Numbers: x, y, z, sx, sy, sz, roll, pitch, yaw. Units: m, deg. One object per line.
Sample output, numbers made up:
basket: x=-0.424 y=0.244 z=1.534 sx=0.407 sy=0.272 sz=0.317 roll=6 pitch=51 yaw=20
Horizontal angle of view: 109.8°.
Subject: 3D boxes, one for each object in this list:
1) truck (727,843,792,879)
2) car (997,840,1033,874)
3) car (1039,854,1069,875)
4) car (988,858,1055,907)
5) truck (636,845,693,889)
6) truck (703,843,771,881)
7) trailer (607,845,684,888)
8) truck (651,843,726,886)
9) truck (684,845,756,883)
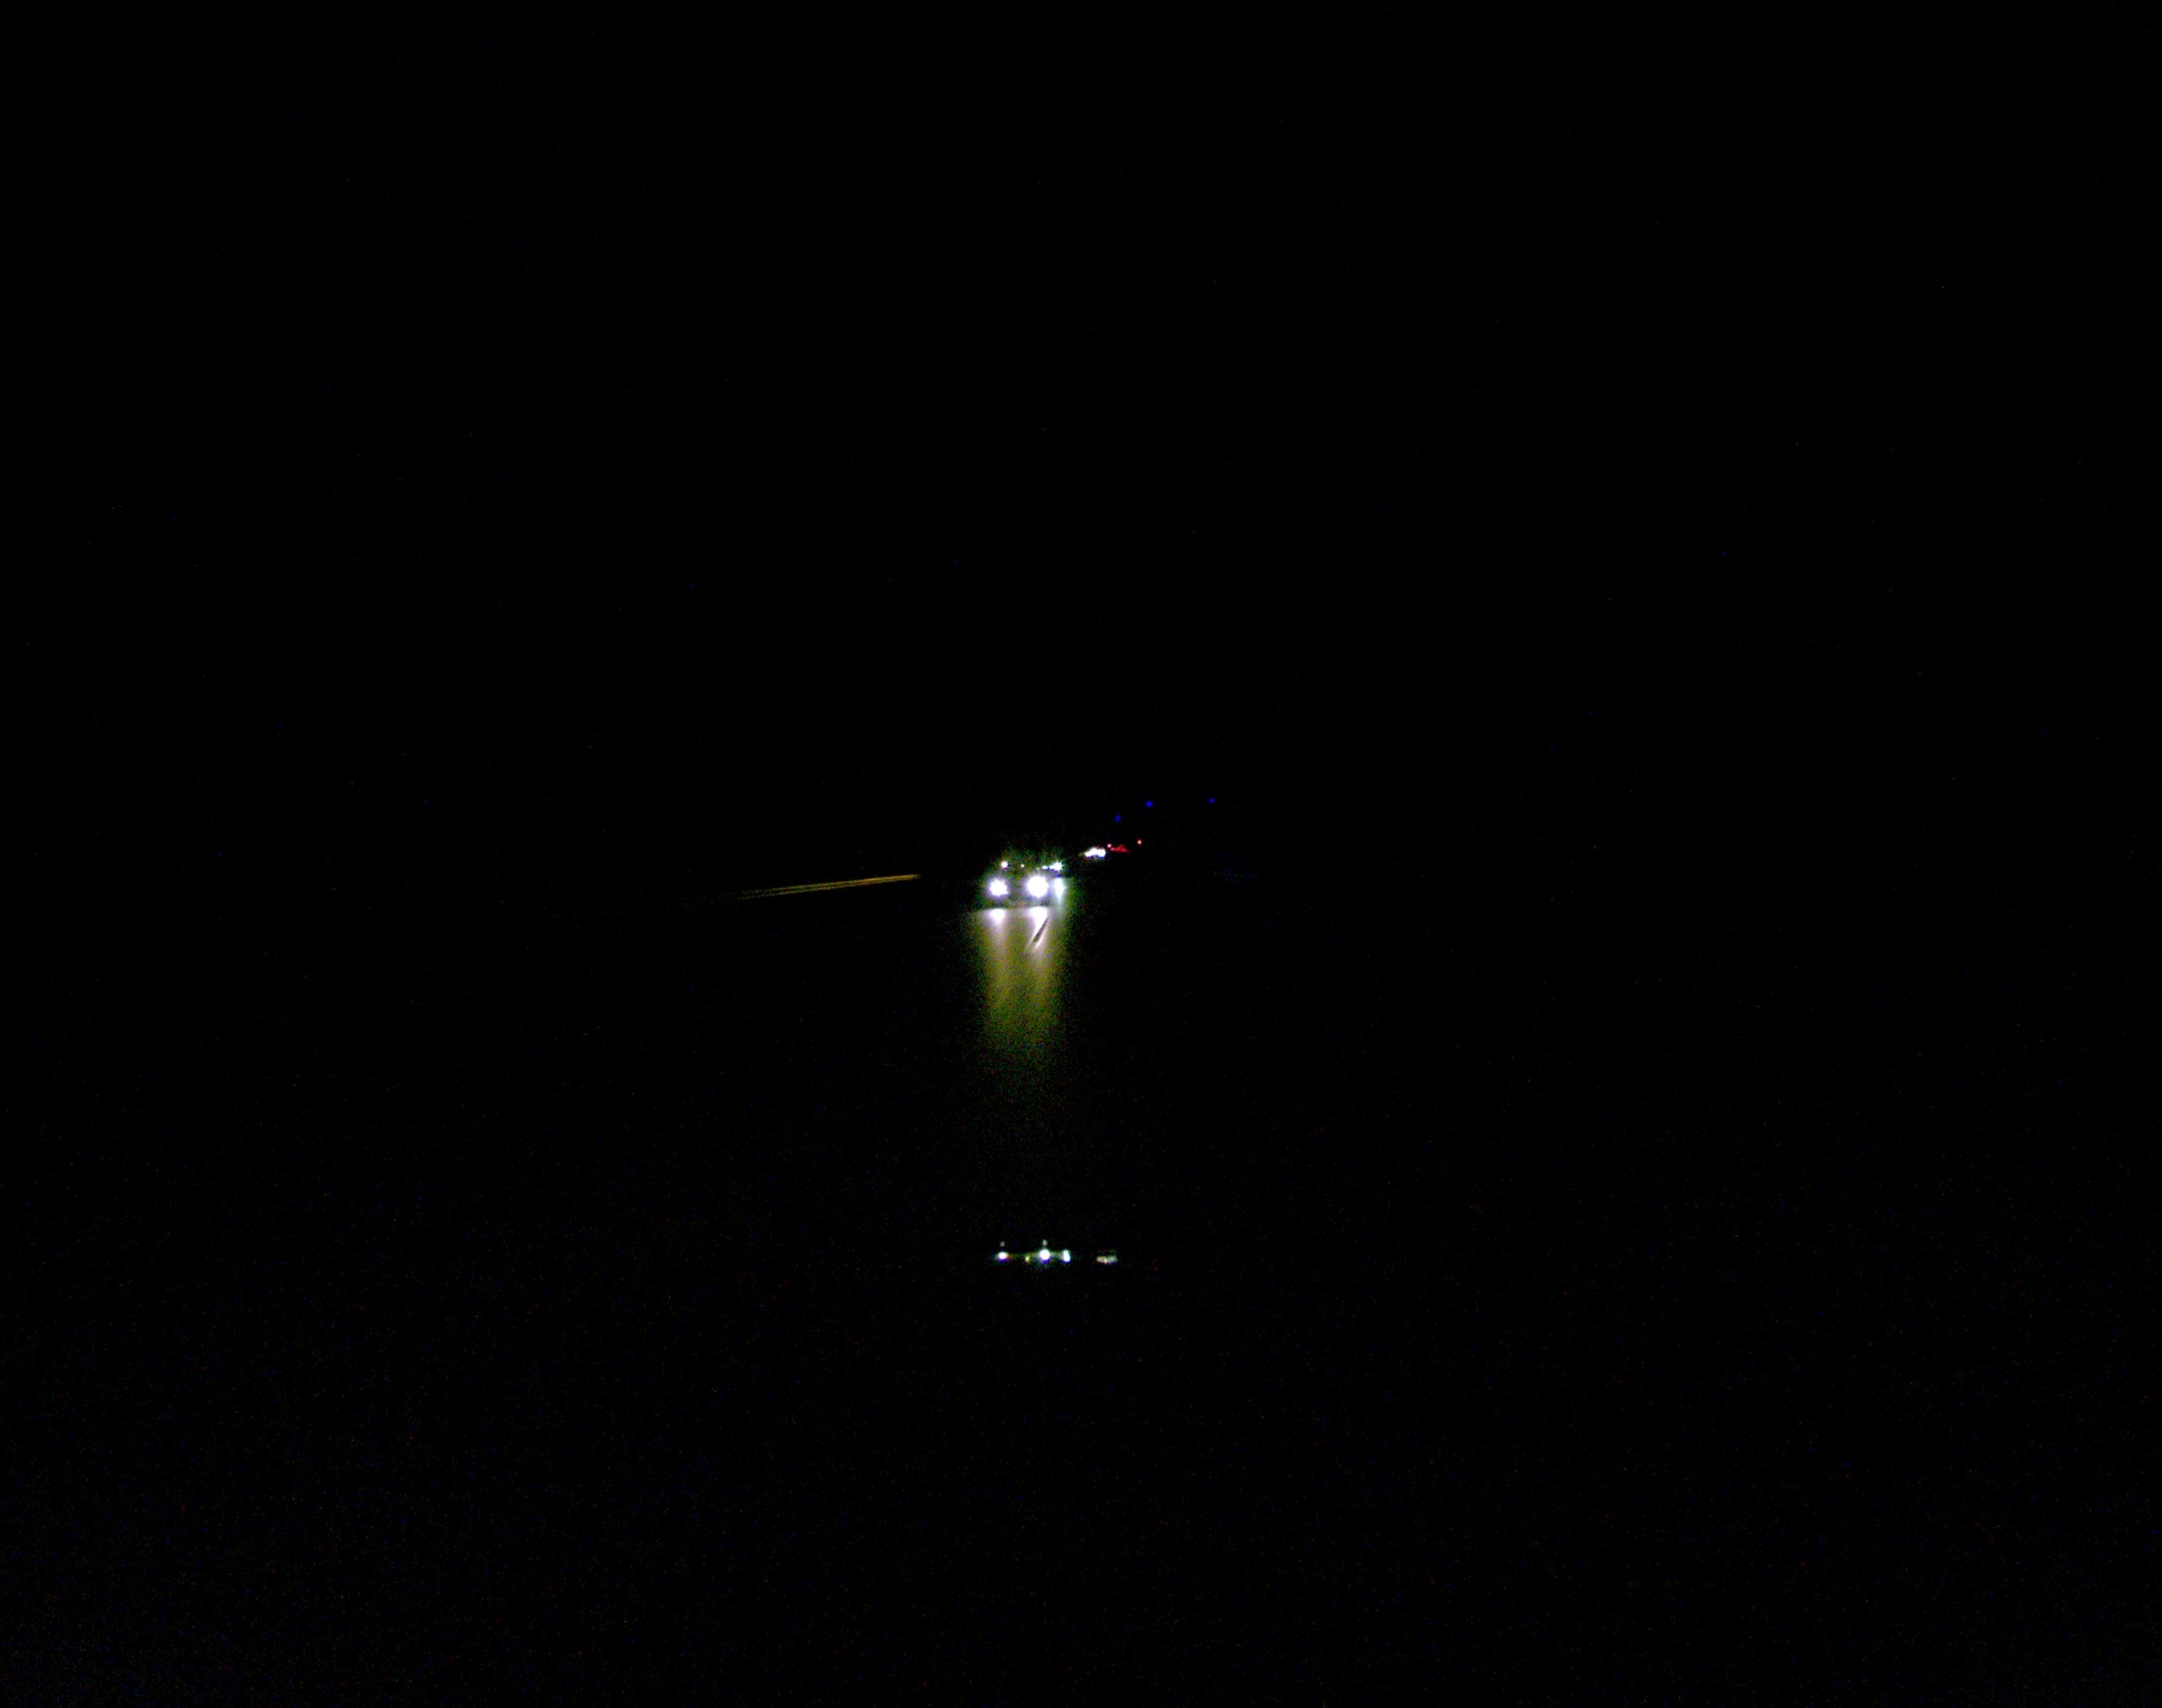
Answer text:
truck: x=-38.091 y=0.832 z=89.911 sx=9.636 sy=3.902 sz=3.066 roll=-2 pitch=1 yaw=42
car: x=-5.983 y=0.237 z=70.114 sx=2.534 sy=2.888 sz=6.227 roll=-2 pitch=0 yaw=1
car: x=-2.043 y=0.752 z=58.355 sx=1.998 sy=1.455 sz=4.000 roll=-2 pitch=0 yaw=1
car: x=-1.952 y=0.907 z=25.878 sx=1.833 sy=1.404 sz=4.000 roll=-2 pitch=0 yaw=1
truck: x=-36.898 y=1.148 z=67.241 sx=6.193 sy=3.628 sz=2.537 roll=-2 pitch=2 yaw=45
truck: x=-38.293 y=0.921 z=84.420 sx=9.636 sy=3.902 sz=3.066 roll=-2 pitch=1 yaw=42
trailer: x=-41.041 y=1.252 z=71.296 sx=12.962 sy=3.644 sz=2.547 roll=-2 pitch=1 yaw=44
truck: x=-38.239 y=1.070 z=73.848 sx=9.636 sy=3.902 sz=3.066 roll=-2 pitch=1 yaw=42
truck: x=-37.465 y=1.082 z=78.549 sx=9.636 sy=3.667 sz=3.066 roll=-2 pitch=1 yaw=42
